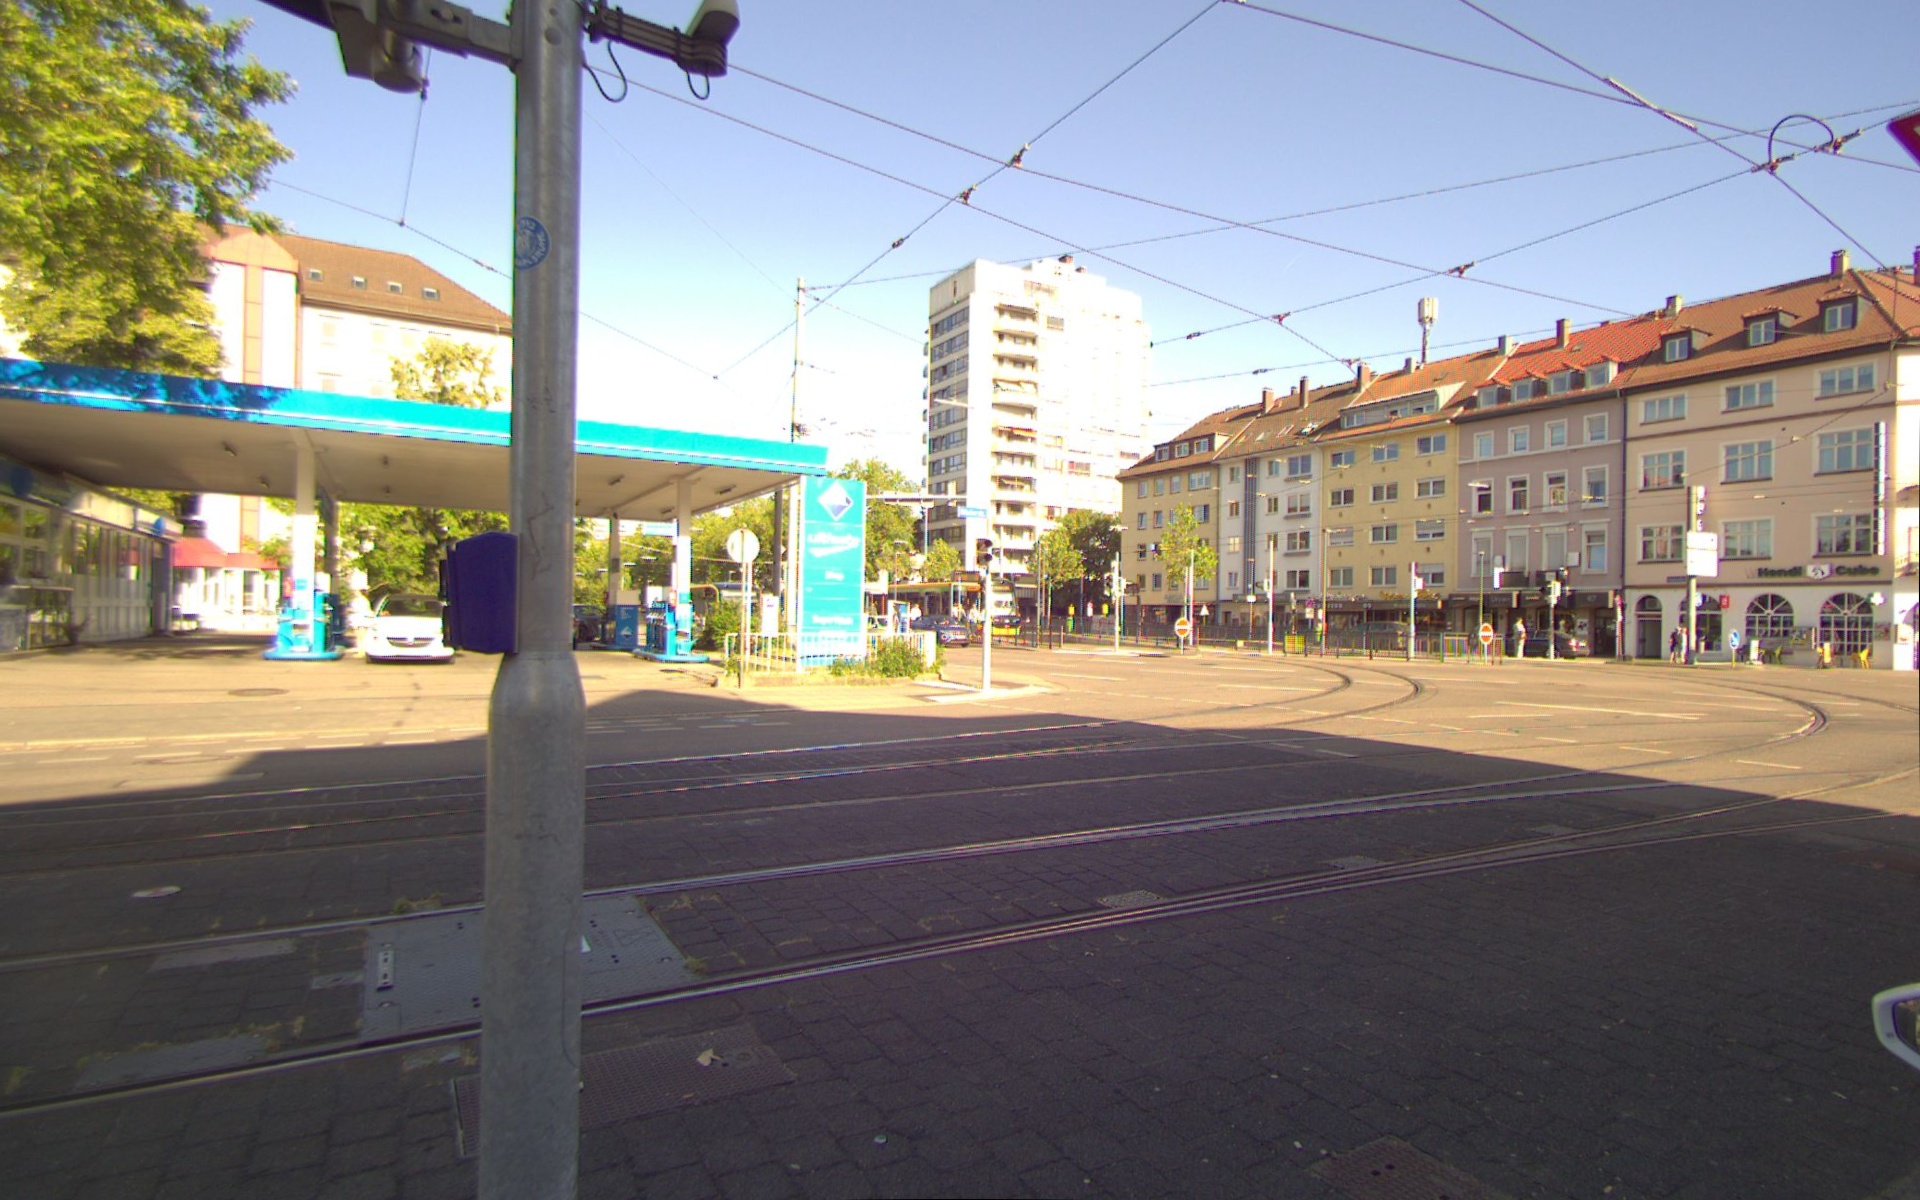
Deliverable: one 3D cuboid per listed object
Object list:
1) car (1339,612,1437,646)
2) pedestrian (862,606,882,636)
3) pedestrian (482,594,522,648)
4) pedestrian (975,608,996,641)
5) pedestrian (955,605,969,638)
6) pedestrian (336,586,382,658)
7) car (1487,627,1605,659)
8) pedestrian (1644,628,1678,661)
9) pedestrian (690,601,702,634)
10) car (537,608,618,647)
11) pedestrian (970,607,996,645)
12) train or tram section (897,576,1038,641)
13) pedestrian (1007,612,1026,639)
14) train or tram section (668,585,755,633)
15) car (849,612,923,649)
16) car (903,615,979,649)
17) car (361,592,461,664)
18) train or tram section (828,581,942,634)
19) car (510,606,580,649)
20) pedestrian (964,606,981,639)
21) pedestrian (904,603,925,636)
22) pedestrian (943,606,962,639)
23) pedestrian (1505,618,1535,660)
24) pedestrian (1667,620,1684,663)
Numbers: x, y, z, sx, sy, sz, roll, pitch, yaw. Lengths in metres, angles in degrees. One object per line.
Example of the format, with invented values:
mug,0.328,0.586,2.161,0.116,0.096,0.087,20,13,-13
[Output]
car,22.505,1.508,52.977,1.976,1.694,4.489,1,-1,-30
pedestrian,-5.497,1.303,62.551,0.902,1.826,0.887,1,-1,-33
pedestrian,-15.651,0.707,34.320,0.896,1.826,0.893,0,-1,34
pedestrian,1.293,1.230,50.228,0.791,1.646,0.706,1,-1,-33
pedestrian,0.104,1.135,52.552,0.491,1.721,0.553,1,-1,-33
pedestrian,-13.896,0.508,23.252,0.801,1.652,0.643,1,-1,-24
car,27.951,2.026,48.068,1.977,1.358,4.487,1,-1,-31
pedestrian,35.073,2.228,50.242,1.029,1.612,1.061,1,-1,-28
pedestrian,-14.668,0.963,55.755,0.539,1.809,0.492,1,-1,-26
car,-17.206,1.217,45.385,1.960,1.685,4.001,1,-1,2
pedestrian,1.115,1.255,48.346,0.902,1.826,0.887,1,-1,-33
train or tram section,0.228,0.522,58.965,3.252,3.459,10.157,1,-1,-33
pedestrian,4.270,1.904,76.150,0.942,2.040,1.214,1,-1,-25
train or tram section,-15.033,0.457,60.041,2.233,2.627,10.398,2,0,-30
car,-3.509,1.398,46.808,1.976,1.615,3.970,1,-1,-29
car,-0.961,1.496,48.350,1.937,1.475,4.077,1,0,-30
car,-12.276,0.610,22.435,1.773,1.461,3.968,2,-1,-30
train or tram section,-5.252,0.526,67.584,3.252,3.335,10.157,1,-1,-33
car,-13.505,0.868,32.580,1.752,1.332,3.520,1,-1,-28
pedestrian,0.636,1.154,51.557,0.549,1.721,0.740,1,-1,-33
pedestrian,-2.592,1.114,57.298,0.902,1.826,0.887,1,-1,-33
pedestrian,-0.400,1.194,53.458,0.773,1.721,0.692,1,-1,-33
pedestrian,24.493,1.697,43.956,0.801,1.842,0.871,1,-1,-29
pedestrian,34.208,1.985,48.020,0.498,2.040,0.507,1,-1,-27
